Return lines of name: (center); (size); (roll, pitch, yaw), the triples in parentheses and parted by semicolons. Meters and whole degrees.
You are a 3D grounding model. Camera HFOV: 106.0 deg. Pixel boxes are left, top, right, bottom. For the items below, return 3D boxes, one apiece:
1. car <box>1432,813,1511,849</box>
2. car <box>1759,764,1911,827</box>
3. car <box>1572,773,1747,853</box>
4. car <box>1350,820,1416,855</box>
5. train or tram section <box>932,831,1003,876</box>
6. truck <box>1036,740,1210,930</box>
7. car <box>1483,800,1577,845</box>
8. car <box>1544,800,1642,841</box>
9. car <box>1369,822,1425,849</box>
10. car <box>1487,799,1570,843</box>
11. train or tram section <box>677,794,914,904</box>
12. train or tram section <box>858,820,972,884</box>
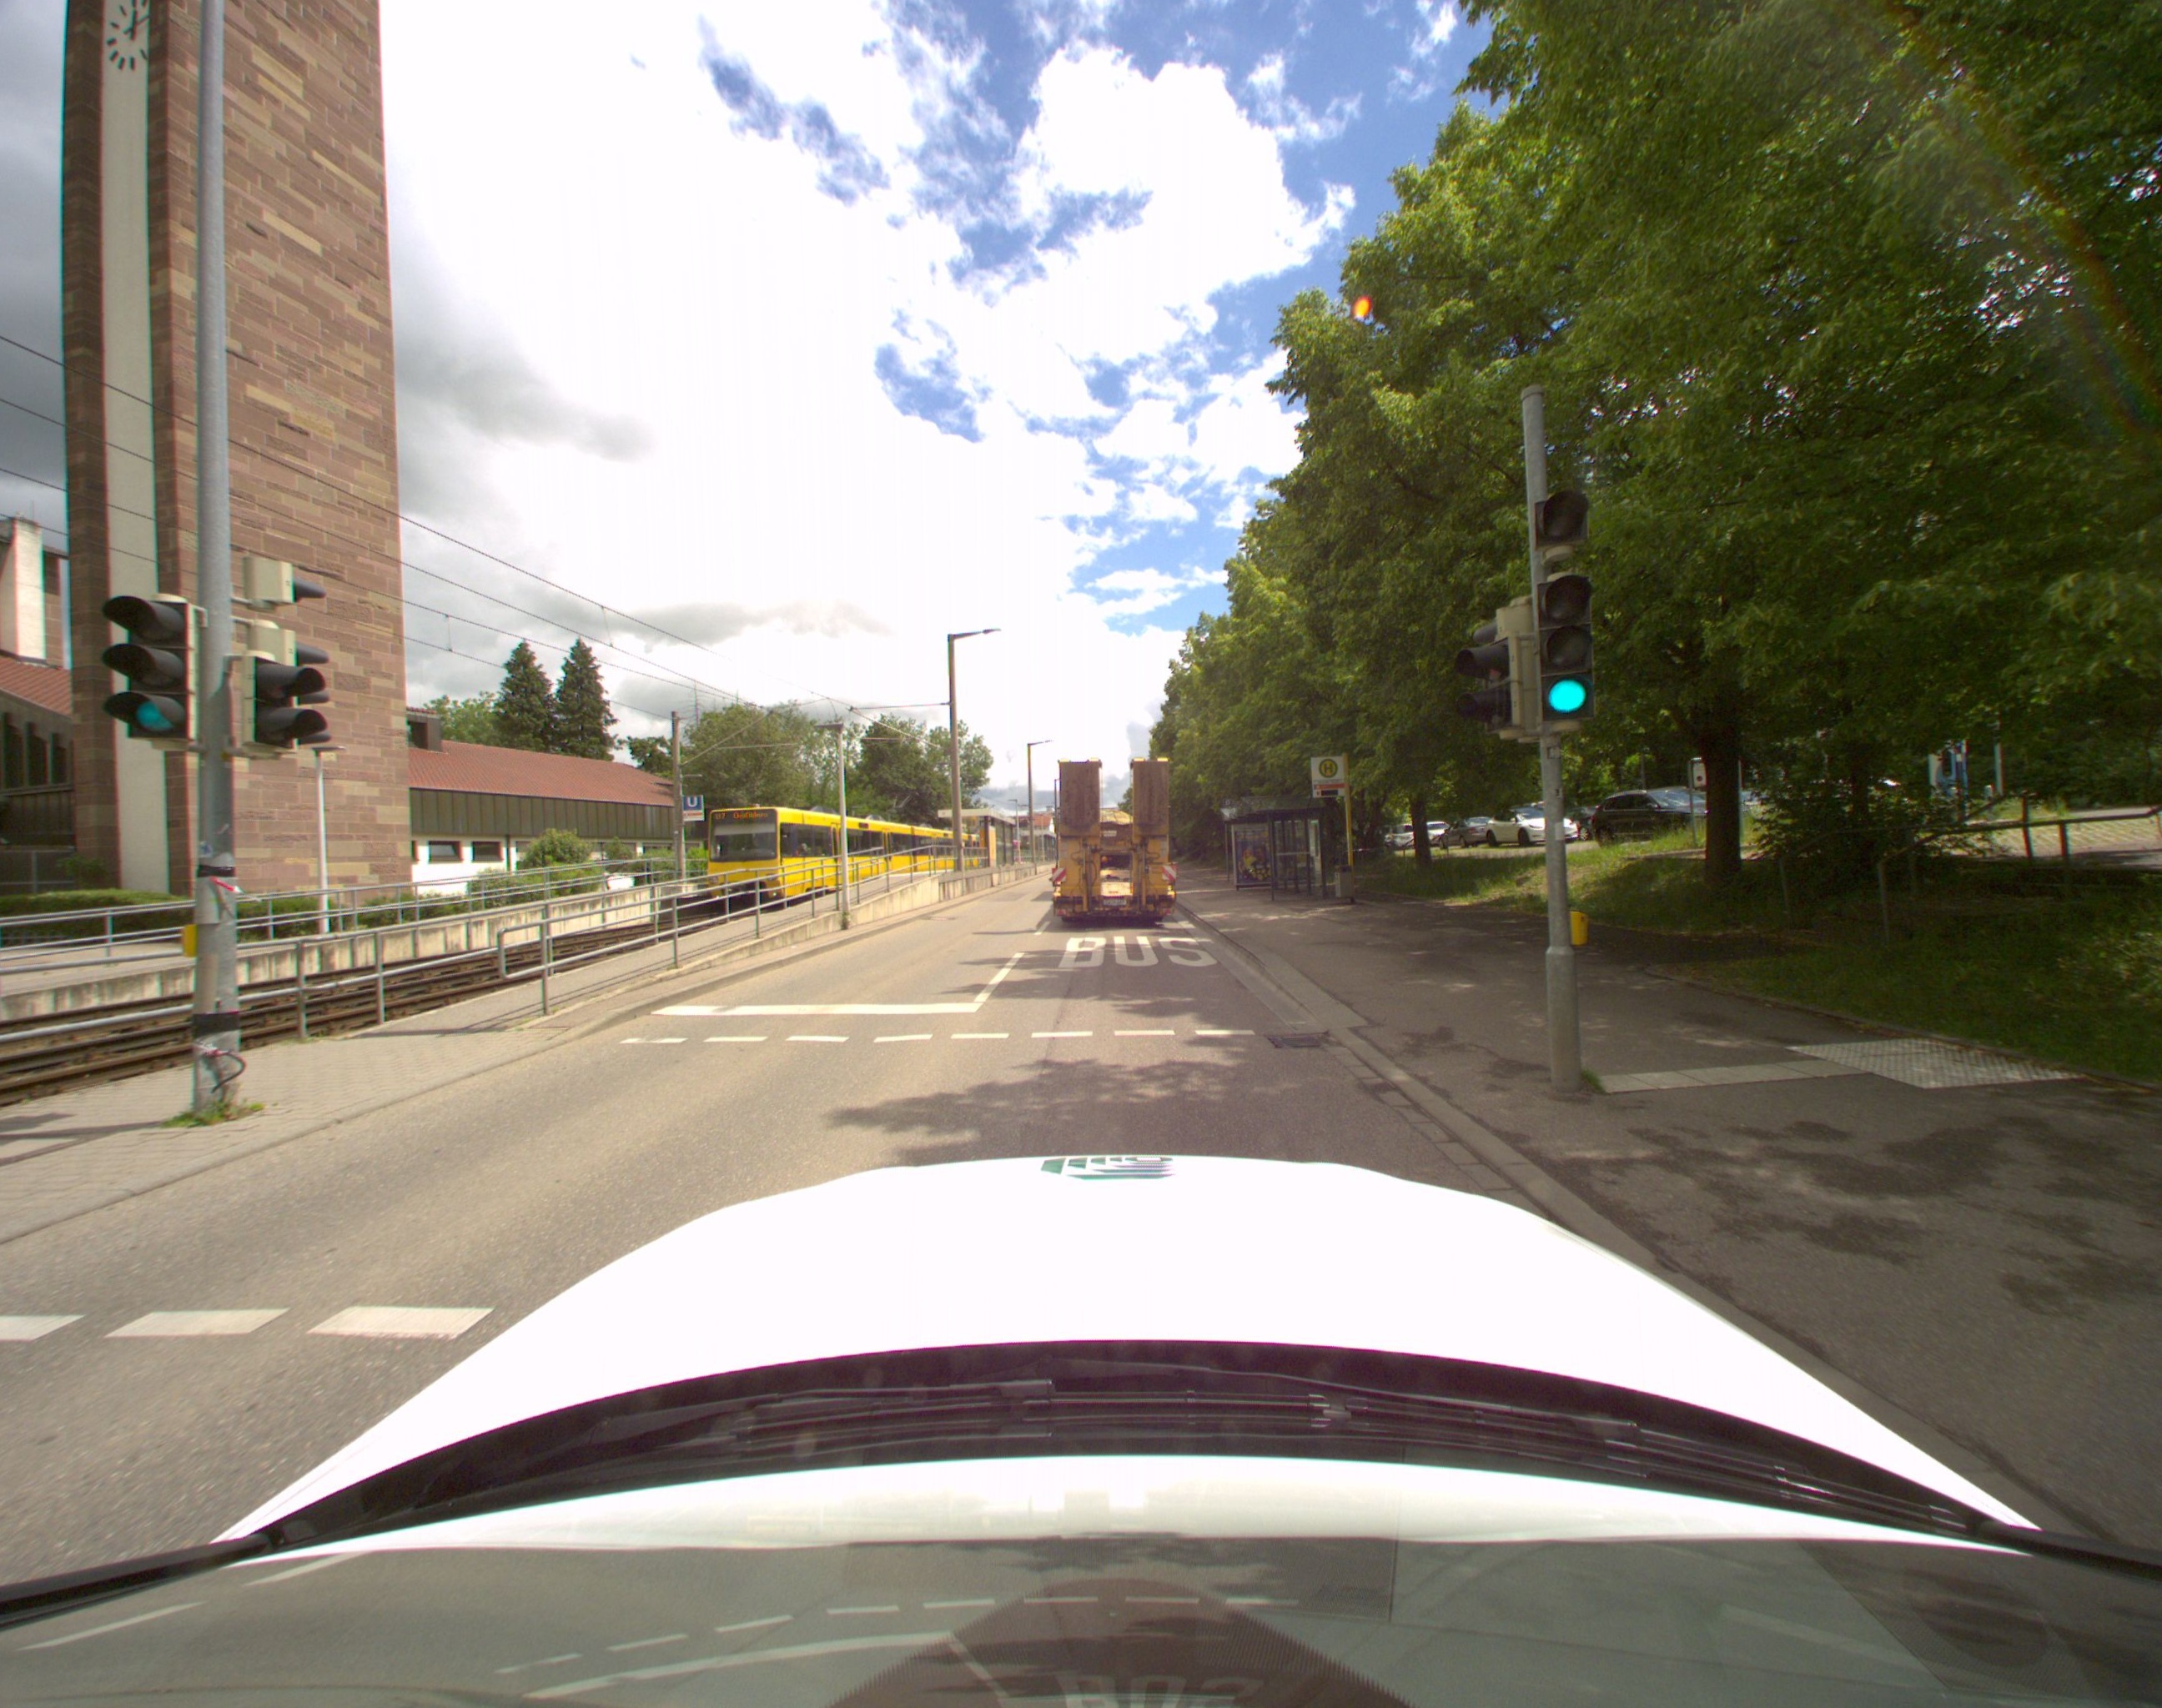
car: (18.279, -1.036, 38.343); (1.607, 1.442, 4.354); (-5, 0, 2)
car: (20.567, -1.547, 22.361); (1.403, 1.303, 2.859); (-6, -2, 0)
car: (15.828, -1.039, 22.604); (1.682, 1.694, 4.262); (-6, -2, 1)
car: (15.777, -0.809, 42.839); (1.839, 1.662, 4.726); (-2, 0, 2)
train or tram section: (-9.828, 0.005, 73.319); (3.096, 3.465, 19.205); (-1, 0, 2)
truck: (0.800, -0.365, 23.400); (3.392, 3.732, 13.733); (-2, 0, -1)
car: (18.139, -1.221, 33.133); (1.463, 1.555, 4.437); (-6, 0, 4)
car: (21.110, -1.331, 33.772); (1.675, 1.453, 4.005); (-4, 0, 4)
car: (19.290, -1.077, 49.908); (1.834, 1.420, 4.126); (-5, 0, 2)
car: (21.245, -1.517, 38.832); (1.607, 1.790, 4.210); (-6, 0, 2)
train or tram section: (-10.996, -0.122, 35.291); (3.096, 3.465, 18.832); (-1, 0, 2)
train or tram section: (-10.404, -0.059, 54.199); (3.096, 3.465, 19.003); (-1, 0, 2)
